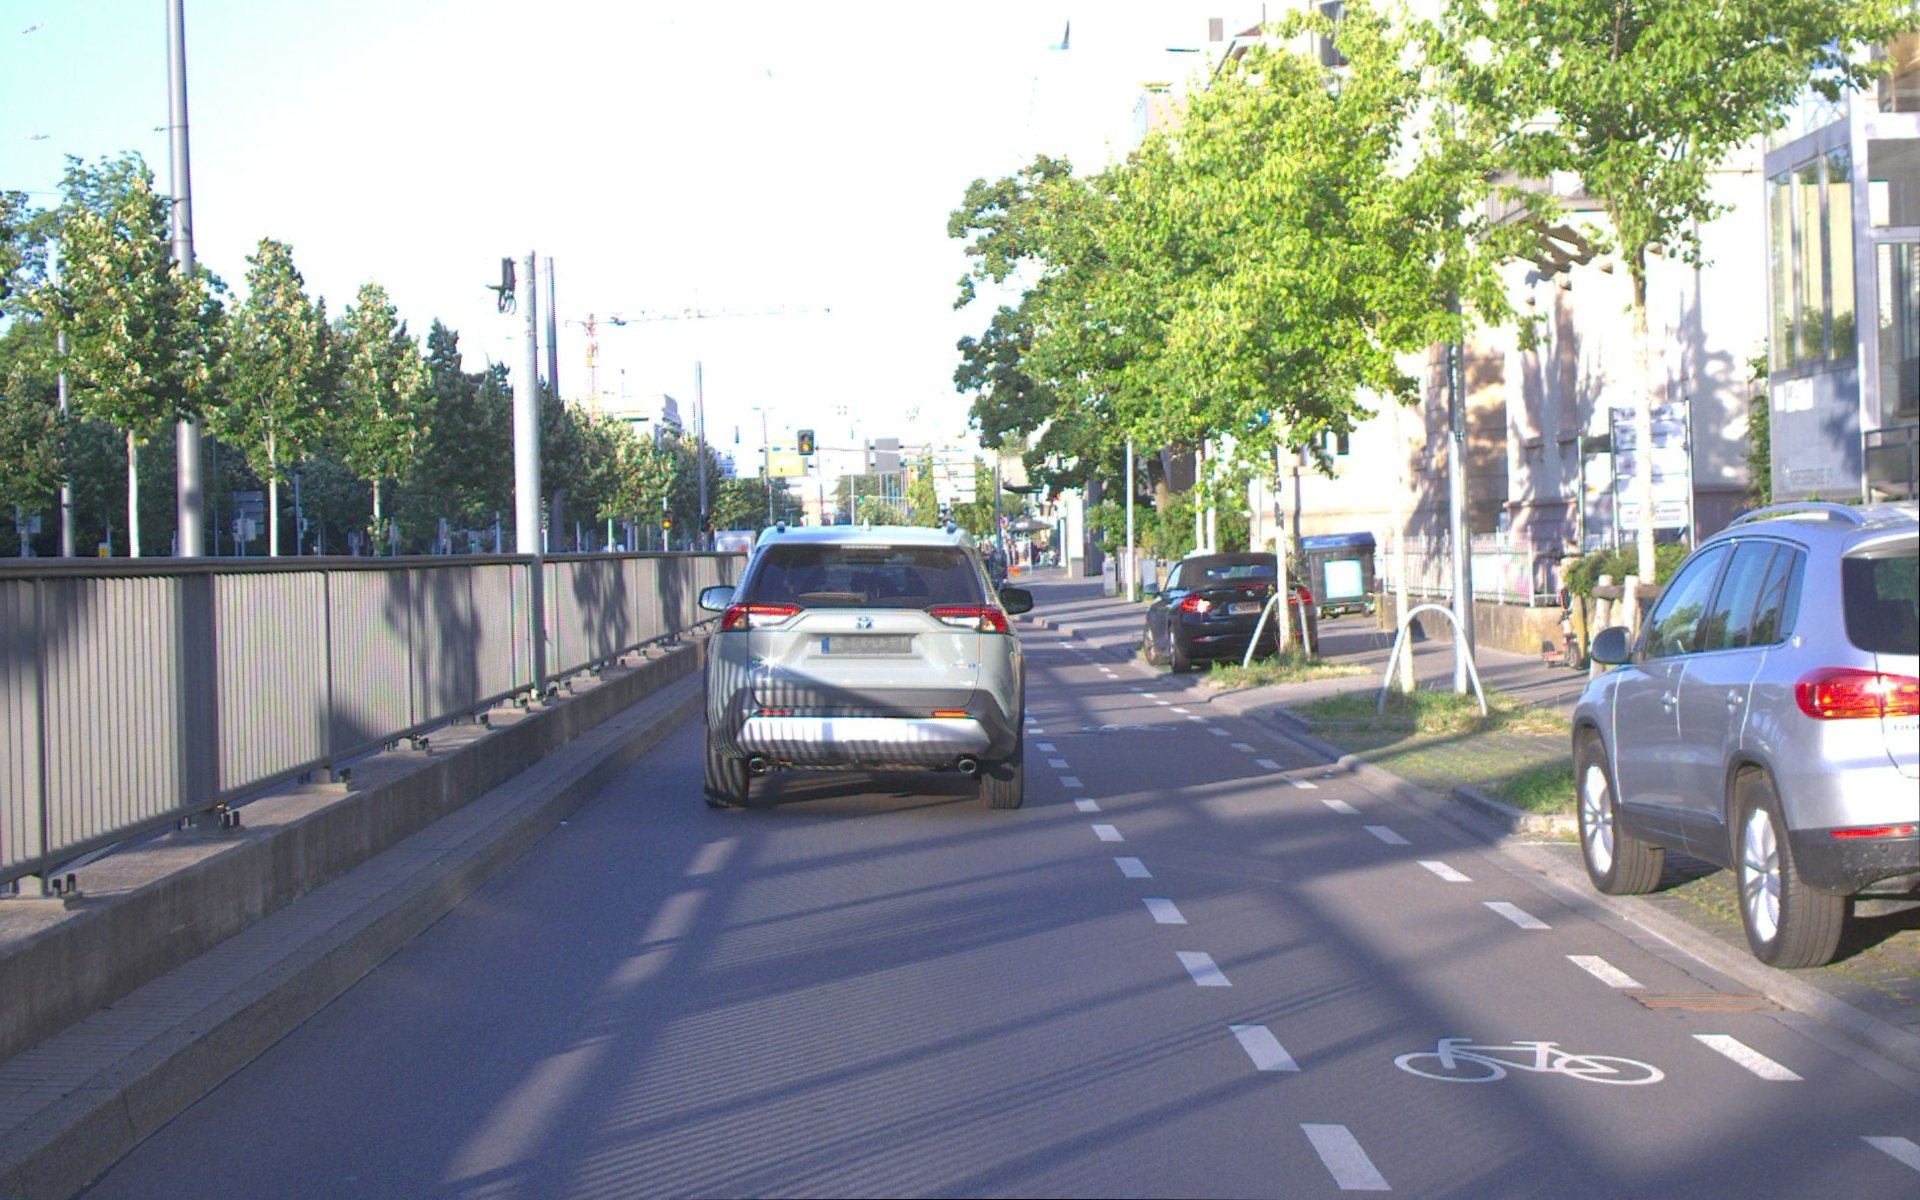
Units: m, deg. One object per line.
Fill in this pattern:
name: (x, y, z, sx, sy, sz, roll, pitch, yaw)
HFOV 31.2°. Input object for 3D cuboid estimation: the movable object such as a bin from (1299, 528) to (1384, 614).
movable object such as a bin: (6.533, -0.501, 58.976, 1.260, 1.457, 1.124, -1, 1, -4)

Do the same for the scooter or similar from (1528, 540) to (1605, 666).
scooter or similar: (6.160, 0.023, 34.931, 0.490, 1.254, 1.209, 0, 0, -4)

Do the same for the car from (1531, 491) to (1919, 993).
car: (3.682, 0.422, 13.843, 1.854, 1.701, 4.255, -1, 1, -3)

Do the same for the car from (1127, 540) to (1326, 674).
car: (3.287, 0.039, 43.128, 1.792, 1.466, 4.446, -4, 1, -3)

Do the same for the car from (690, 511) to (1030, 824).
car: (-0.644, 0.344, 21.030, 1.857, 1.708, 4.193, 1, 1, -3)
